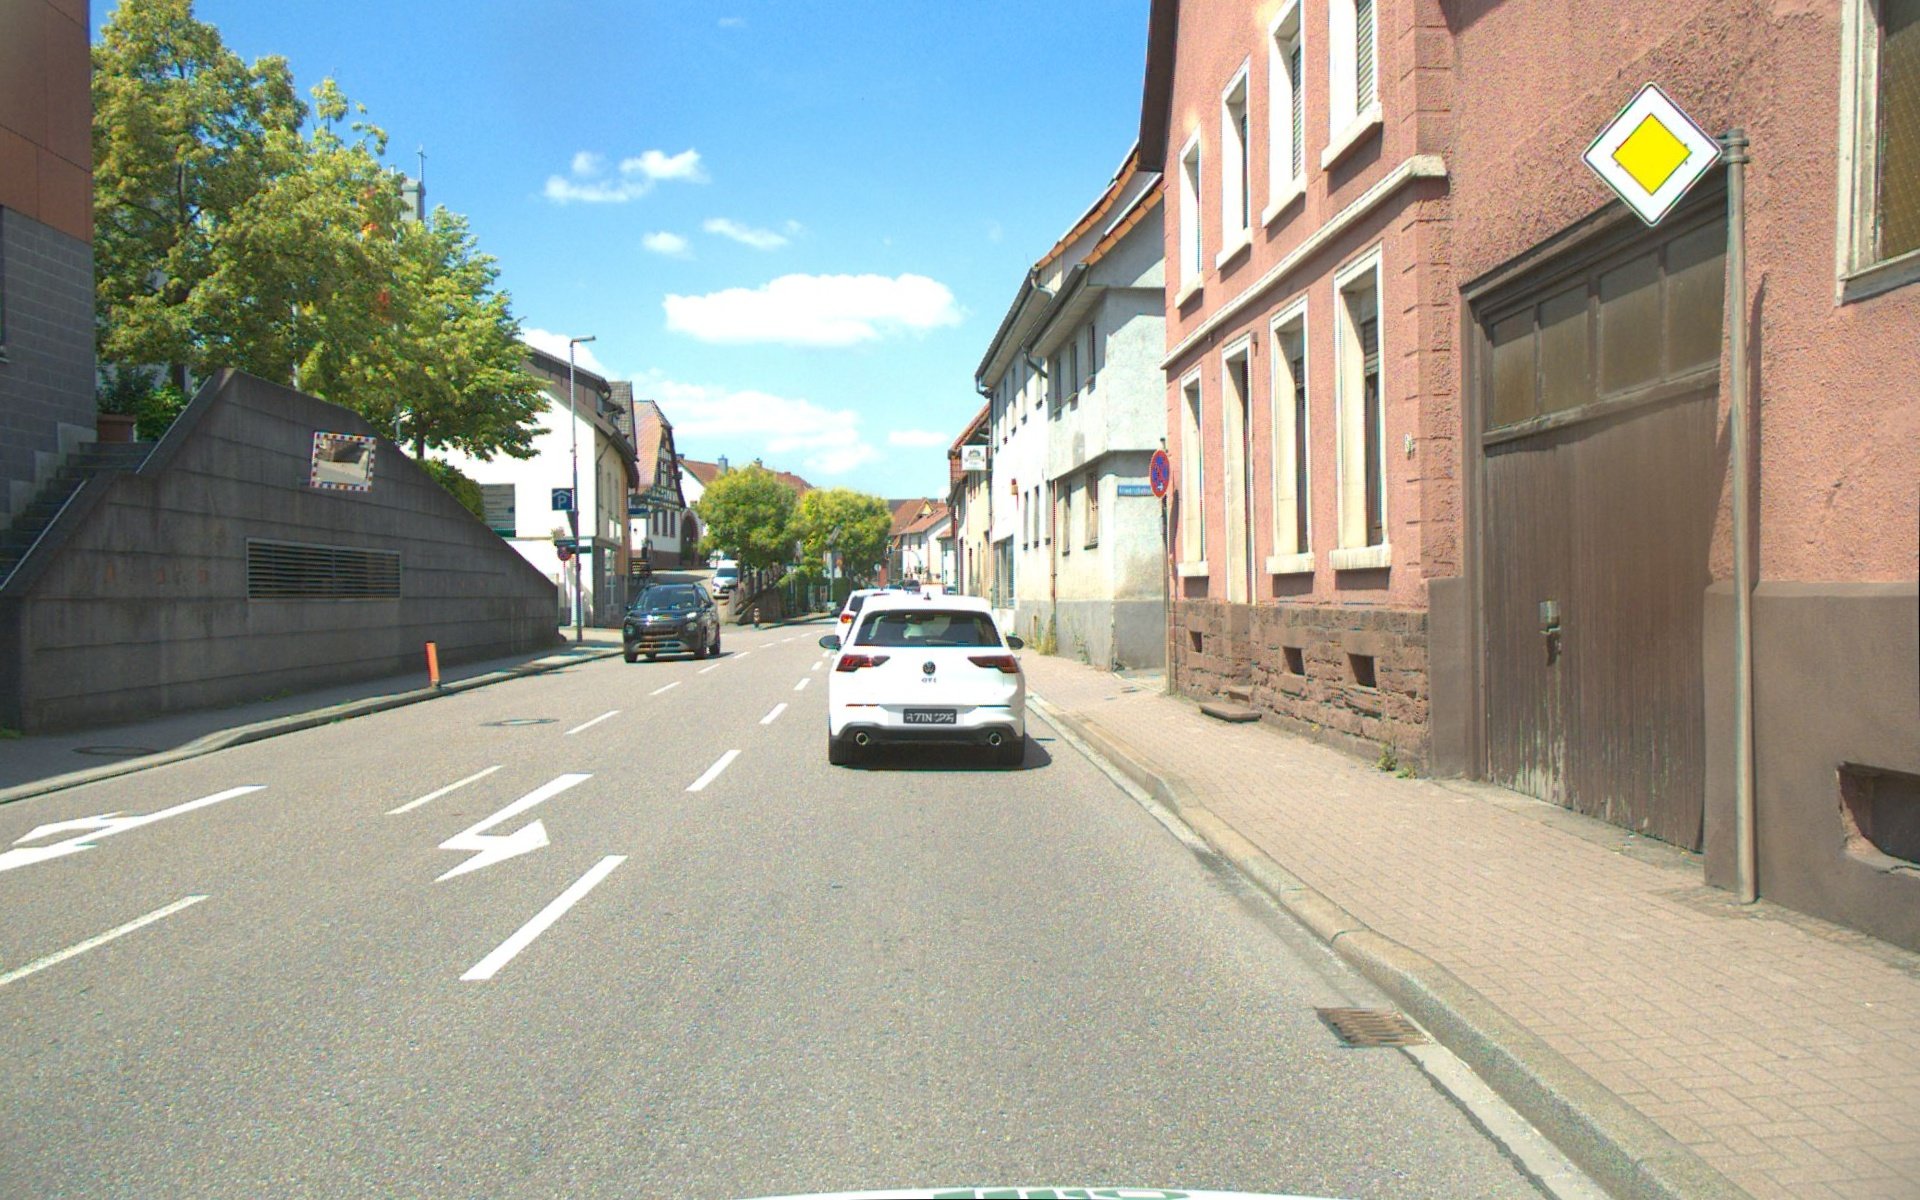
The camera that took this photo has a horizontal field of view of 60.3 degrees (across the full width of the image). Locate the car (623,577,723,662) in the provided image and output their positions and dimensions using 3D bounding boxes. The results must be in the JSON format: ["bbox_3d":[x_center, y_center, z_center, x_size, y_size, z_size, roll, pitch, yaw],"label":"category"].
[{"bbox_3d":[-6.231,0.398,36.291,1.637,1.686,4.015,-2,0,-3],"label":"car"}]

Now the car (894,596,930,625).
[{"bbox_3d":[-2.718,0.592,94.331,1.738,1.565,4.002,0,0,3],"label":"car"}]

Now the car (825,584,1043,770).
[{"bbox_3d":[-0.155,0.636,15.618,1.770,1.493,4.001,1,0,2],"label":"car"}]

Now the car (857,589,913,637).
[{"bbox_3d":[-2.510,0.413,54.820,1.772,1.493,3.997,1,0,-3],"label":"car"}]

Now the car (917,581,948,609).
[{"bbox_3d":[-1.780,-0.357,109.691,1.738,1.796,4.002,0,0,3],"label":"car"}]

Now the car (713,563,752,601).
[{"bbox_3d":[-11.468,-0.942,83.608,1.660,1.569,3.856,0,6,-3],"label":"car"}]

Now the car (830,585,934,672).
[{"bbox_3d":[-1.505,0.493,30.784,1.772,1.493,3.996,1,0,-5],"label":"car"}]
